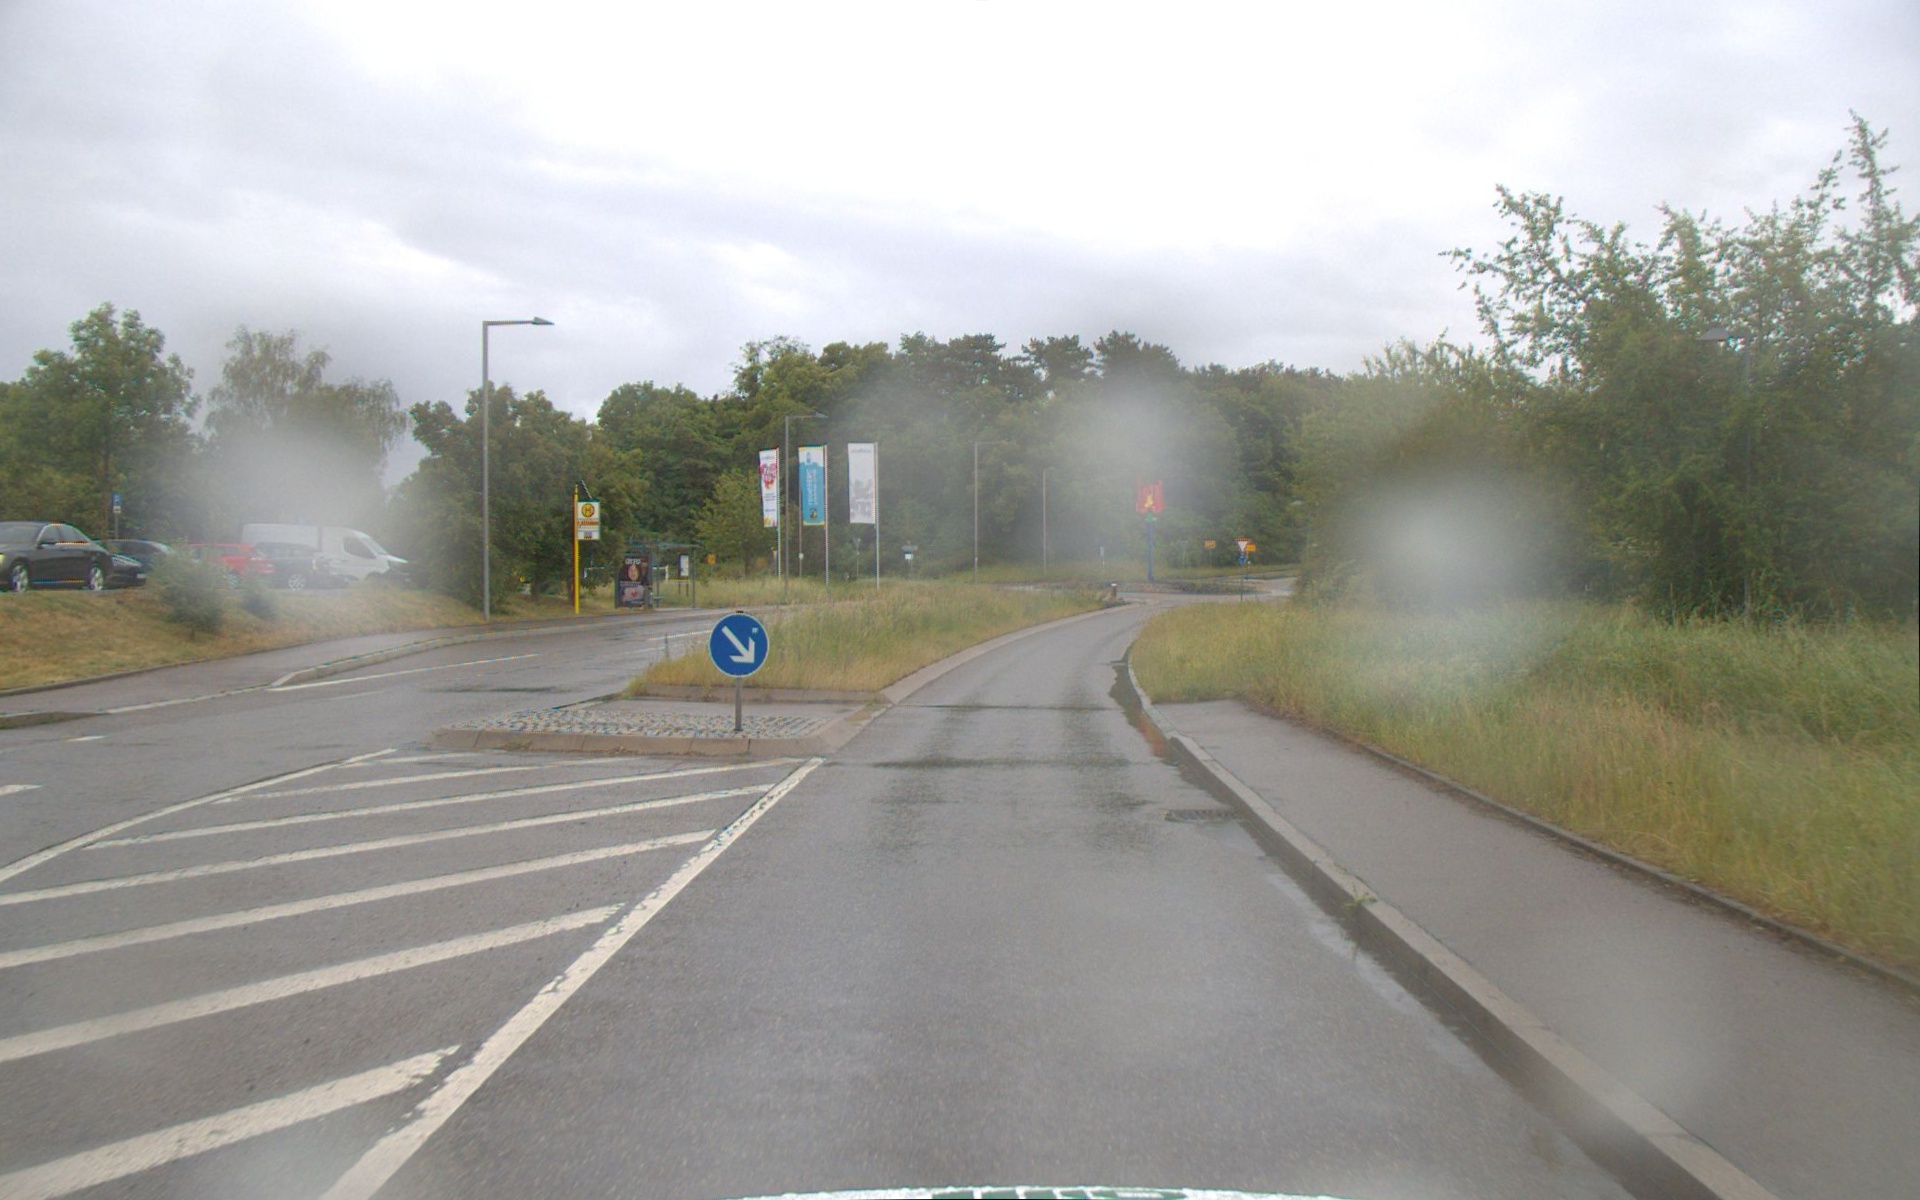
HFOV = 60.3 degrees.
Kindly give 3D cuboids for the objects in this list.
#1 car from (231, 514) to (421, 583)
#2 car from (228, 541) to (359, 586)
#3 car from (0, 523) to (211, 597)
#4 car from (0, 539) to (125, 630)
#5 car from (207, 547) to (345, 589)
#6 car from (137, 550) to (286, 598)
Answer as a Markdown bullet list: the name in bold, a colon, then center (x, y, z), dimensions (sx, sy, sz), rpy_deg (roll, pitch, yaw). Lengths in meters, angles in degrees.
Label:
- **car**: center (-24.380, -1.966, 63.827), dimensions (6.425, 2.439, 2.137), rpy_deg (1, -1, -3)
- **car**: center (-23.546, -1.287, 58.487), dimensions (3.904, 1.387, 1.653), rpy_deg (2, 1, 3)
- **car**: center (-22.021, -1.028, 42.470), dimensions (4.609, 1.722, 2.005), rpy_deg (2, 1, 0)
- **car**: center (-18.346, -0.351, 32.369), dimensions (1.657, 1.595, 4.542), rpy_deg (3, 2, 0)
- **car**: center (-23.152, -1.083, 56.052), dimensions (3.904, 1.388, 1.848), rpy_deg (0, 1, 3)
- **car**: center (-23.885, -0.841, 52.842), dimensions (3.904, 1.495, 1.848), rpy_deg (0, 1, 1)
